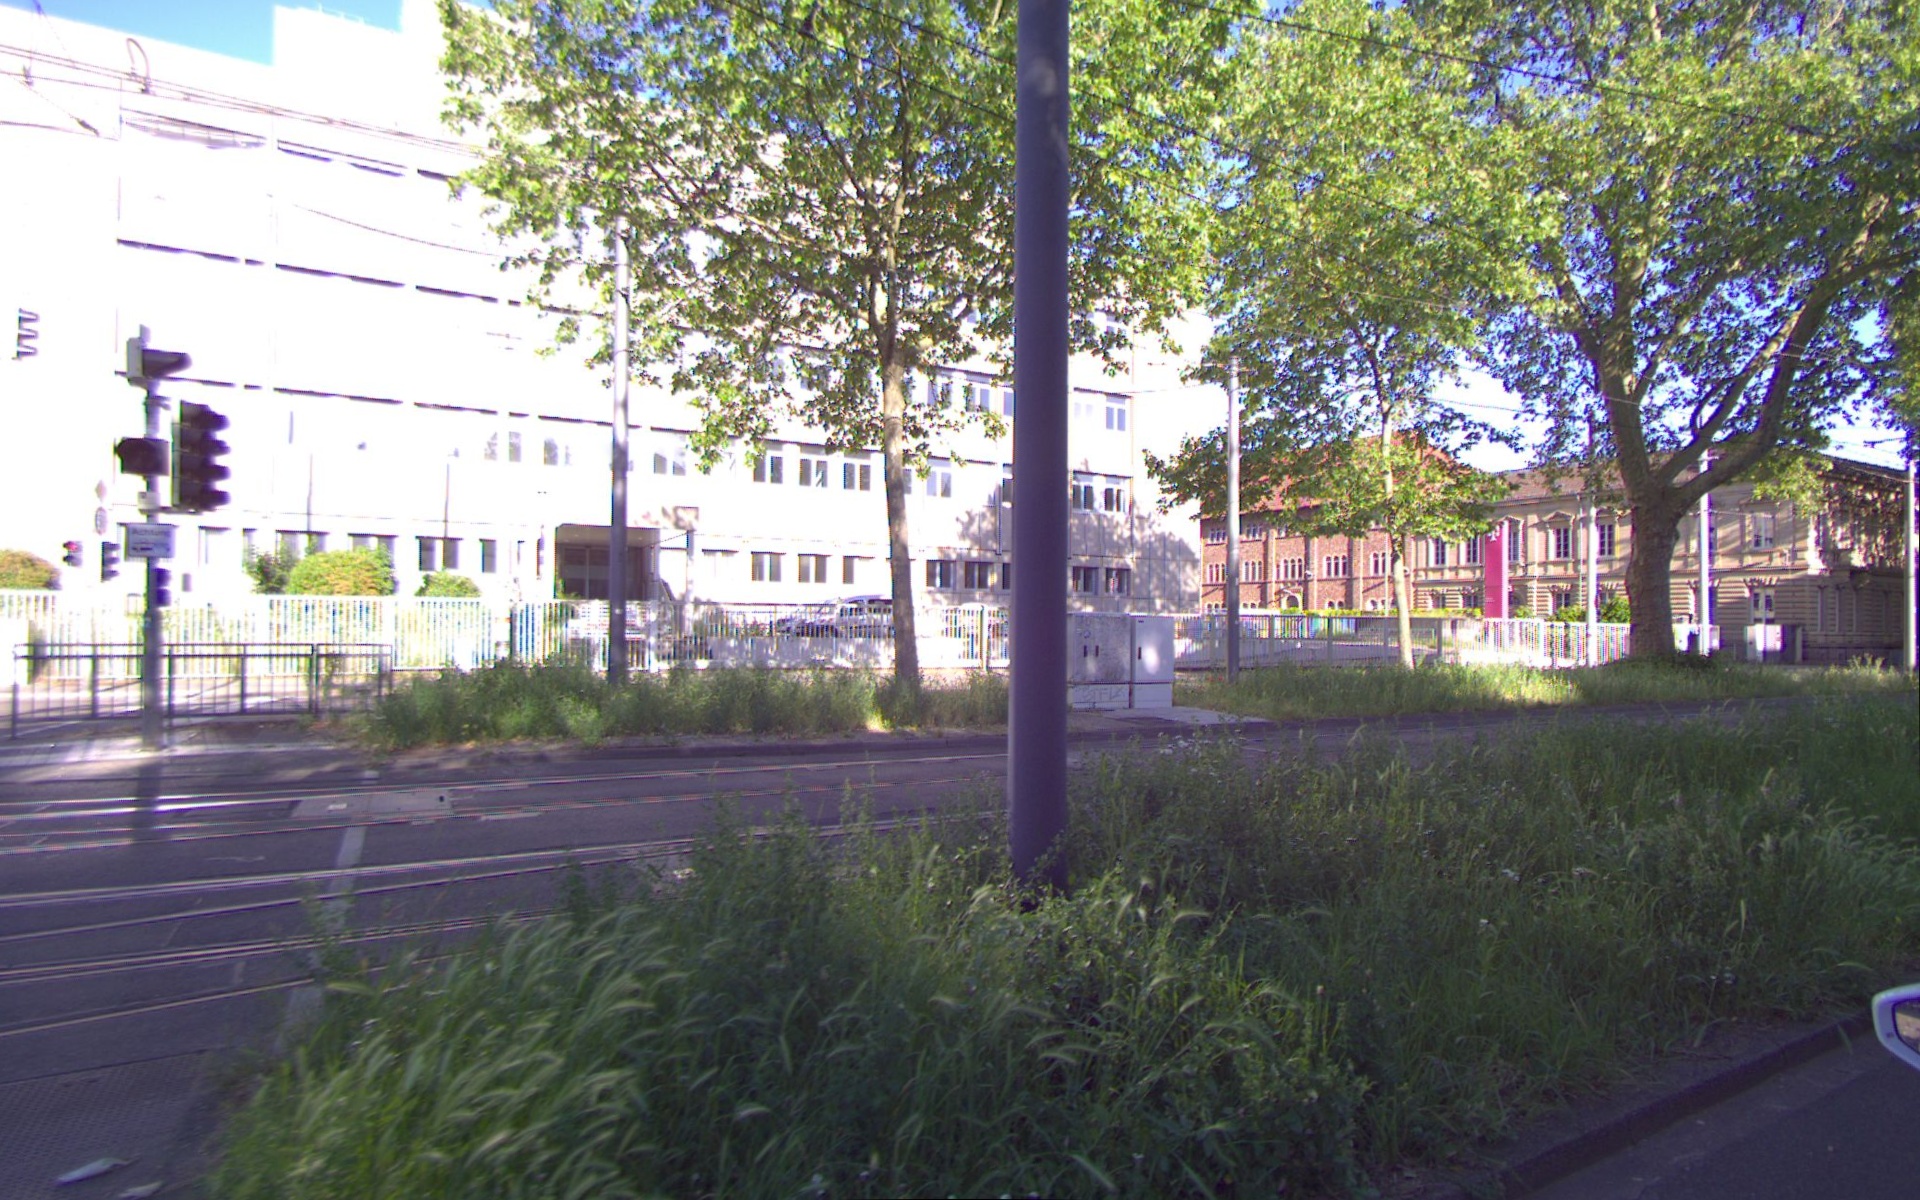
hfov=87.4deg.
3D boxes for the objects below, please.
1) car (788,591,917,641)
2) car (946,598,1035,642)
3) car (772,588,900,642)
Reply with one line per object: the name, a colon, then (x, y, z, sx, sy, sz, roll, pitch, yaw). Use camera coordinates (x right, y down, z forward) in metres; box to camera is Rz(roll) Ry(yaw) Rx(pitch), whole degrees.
car: (-3.939, 0.630, 36.883, 4.318, 1.726, 1.988, 1, -2, -25)
car: (1.422, 1.006, 48.873, 1.980, 2.040, 4.709, 1, -2, -35)
car: (-4.911, 0.624, 39.717, 4.660, 2.040, 1.988, 1, -2, -25)
